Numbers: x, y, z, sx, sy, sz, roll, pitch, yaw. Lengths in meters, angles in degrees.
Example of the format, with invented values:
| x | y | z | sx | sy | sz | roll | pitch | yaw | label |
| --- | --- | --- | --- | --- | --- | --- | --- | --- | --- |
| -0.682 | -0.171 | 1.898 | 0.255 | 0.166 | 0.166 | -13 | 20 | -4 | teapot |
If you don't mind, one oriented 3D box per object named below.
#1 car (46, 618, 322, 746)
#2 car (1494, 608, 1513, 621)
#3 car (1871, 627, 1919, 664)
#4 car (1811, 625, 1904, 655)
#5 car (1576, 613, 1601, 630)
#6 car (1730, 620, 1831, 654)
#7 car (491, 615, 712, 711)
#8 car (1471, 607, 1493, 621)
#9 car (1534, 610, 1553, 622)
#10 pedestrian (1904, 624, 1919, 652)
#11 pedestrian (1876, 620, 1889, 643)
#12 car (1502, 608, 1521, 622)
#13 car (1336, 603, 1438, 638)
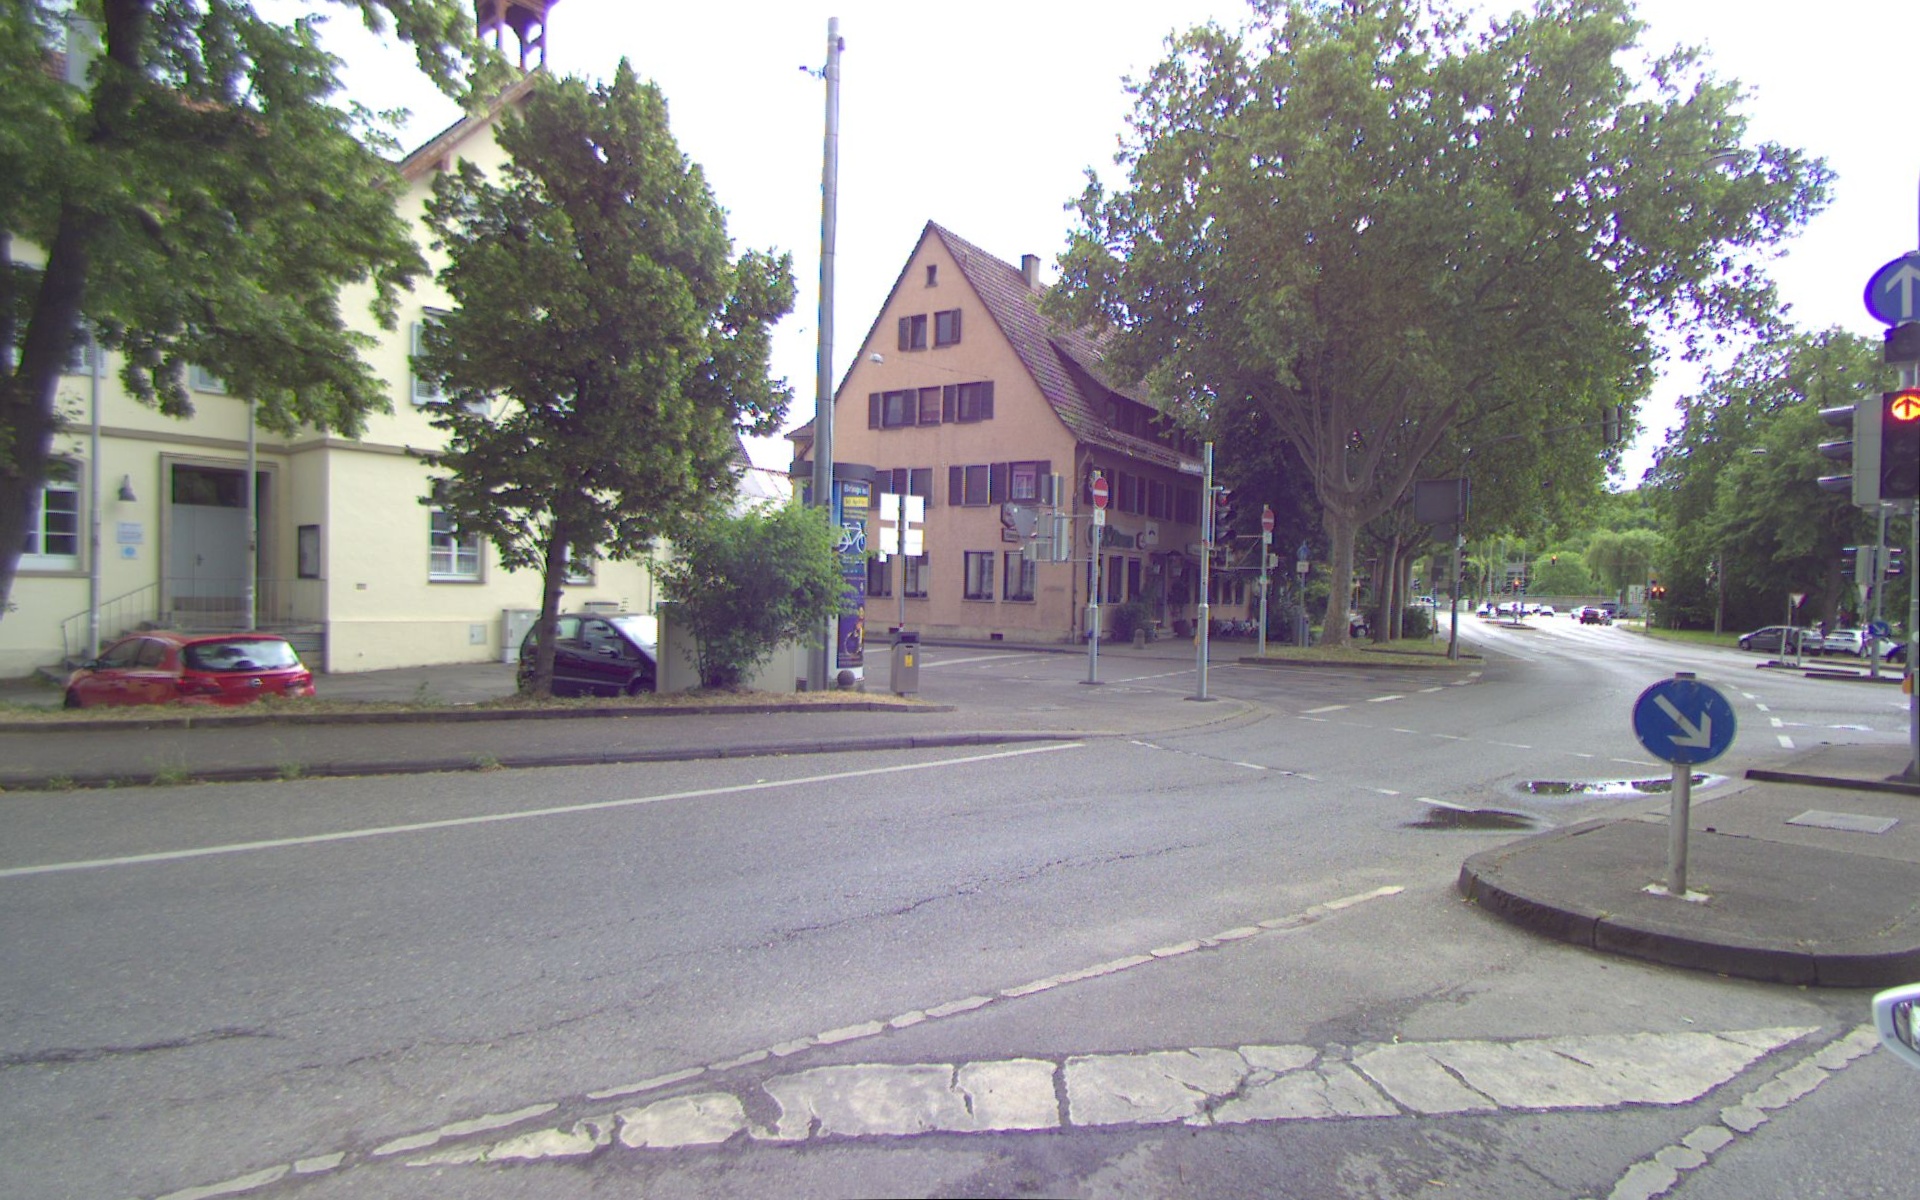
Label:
| x | y | z | sx | sy | sz | roll | pitch | yaw | label |
| --- | --- | --- | --- | --- | --- | --- | --- | --- | --- |
| -10.258 | 0.980 | 13.240 | 3.564 | 1.371 | 1.597 | 2 | 0 | 29 | car |
| 71.358 | 1.920 | 131.867 | 1.772 | 1.608 | 4.400 | 0 | 1 | 35 | car |
| 39.505 | 1.905 | 40.908 | 1.542 | 1.423 | 3.493 | 2 | 1 | -1 | car |
| 47.629 | 2.142 | 53.333 | 4.194 | 1.399 | 1.758 | 2 | 1 | -18 | car |
| 59.920 | 2.018 | 95.836 | 1.796 | 1.529 | 4.566 | 1 | 0 | 30 | car |
| 44.205 | 1.964 | 54.228 | 1.701 | 1.448 | 4.106 | 2 | 2 | -7 | car |
| -5.911 | 0.973 | 16.552 | 3.335 | 1.327 | 1.482 | 2 | 0 | 25 | car |
| 61.461 | 1.636 | 118.220 | 1.738 | 1.486 | 4.011 | 5 | 2 | 33 | car |
| 86.203 | 2.372 | 148.454 | 1.967 | 1.677 | 4.411 | 2 | 1 | 36 | car |
| 54.611 | 2.185 | 57.441 | 0.673 | 1.572 | 0.741 | 2 | 1 | 29 | pedestrian |
| 64.583 | 2.207 | 70.321 | 0.504 | 1.552 | 0.775 | 3 | 1 | 38 | pedestrian |
| 76.578 | 2.039 | 139.391 | 1.885 | 1.787 | 4.738 | 2 | 1 | 34 | car |
| 24.846 | 1.182 | 58.639 | 5.137 | 1.957 | 2.085 | 0 | 0 | 11 | car |
